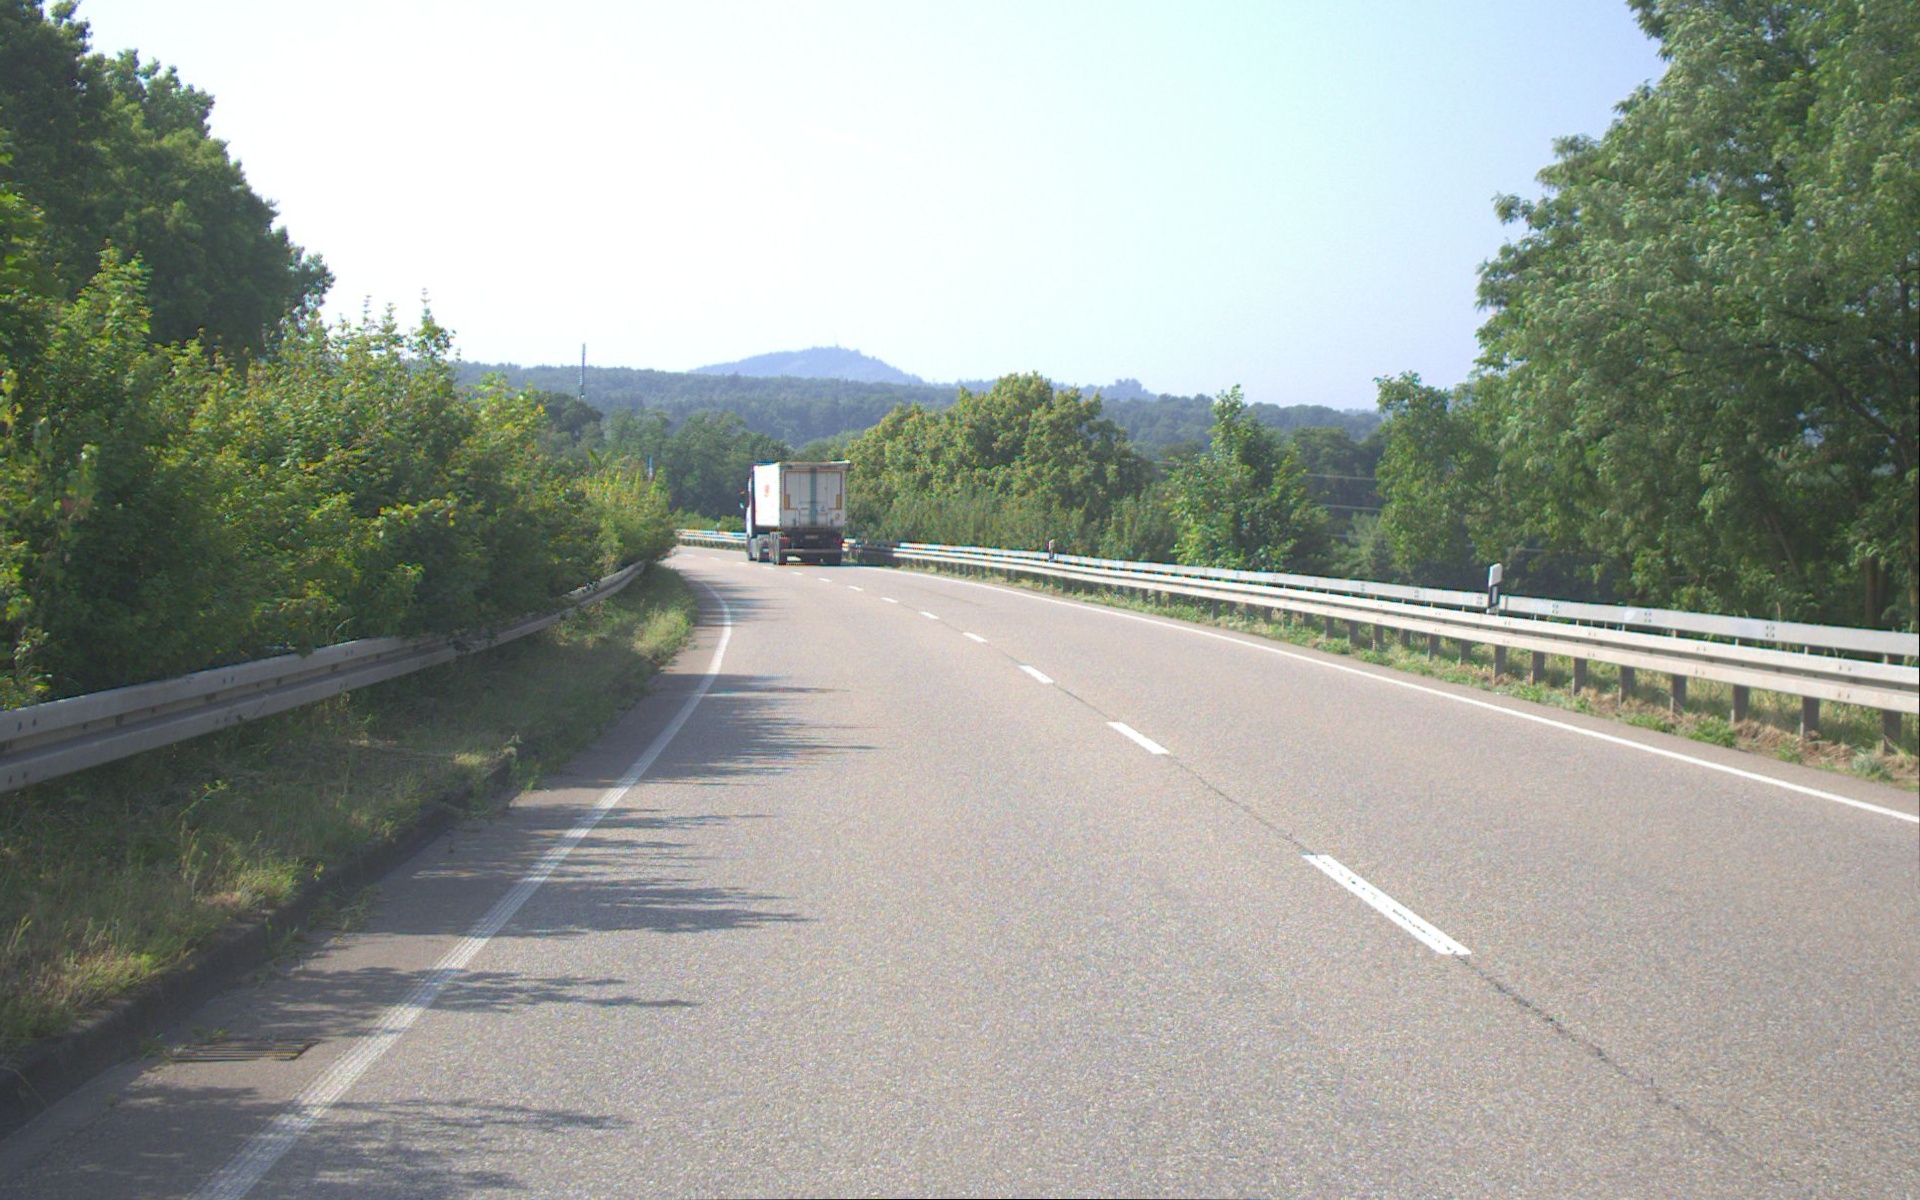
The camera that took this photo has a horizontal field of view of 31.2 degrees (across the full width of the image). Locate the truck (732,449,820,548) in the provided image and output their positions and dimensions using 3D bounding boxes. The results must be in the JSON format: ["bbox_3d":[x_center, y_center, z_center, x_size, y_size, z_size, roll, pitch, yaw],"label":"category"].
[{"bbox_3d":[-7.388,-4.073,137.733,2.658,3.882,5.650,0,2,-12],"label":"truck"}]

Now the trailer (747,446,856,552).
[{"bbox_3d":[-6.152,-3.882,131.862,2.678,3.893,9.676,0,2,-11],"label":"trailer"}]
